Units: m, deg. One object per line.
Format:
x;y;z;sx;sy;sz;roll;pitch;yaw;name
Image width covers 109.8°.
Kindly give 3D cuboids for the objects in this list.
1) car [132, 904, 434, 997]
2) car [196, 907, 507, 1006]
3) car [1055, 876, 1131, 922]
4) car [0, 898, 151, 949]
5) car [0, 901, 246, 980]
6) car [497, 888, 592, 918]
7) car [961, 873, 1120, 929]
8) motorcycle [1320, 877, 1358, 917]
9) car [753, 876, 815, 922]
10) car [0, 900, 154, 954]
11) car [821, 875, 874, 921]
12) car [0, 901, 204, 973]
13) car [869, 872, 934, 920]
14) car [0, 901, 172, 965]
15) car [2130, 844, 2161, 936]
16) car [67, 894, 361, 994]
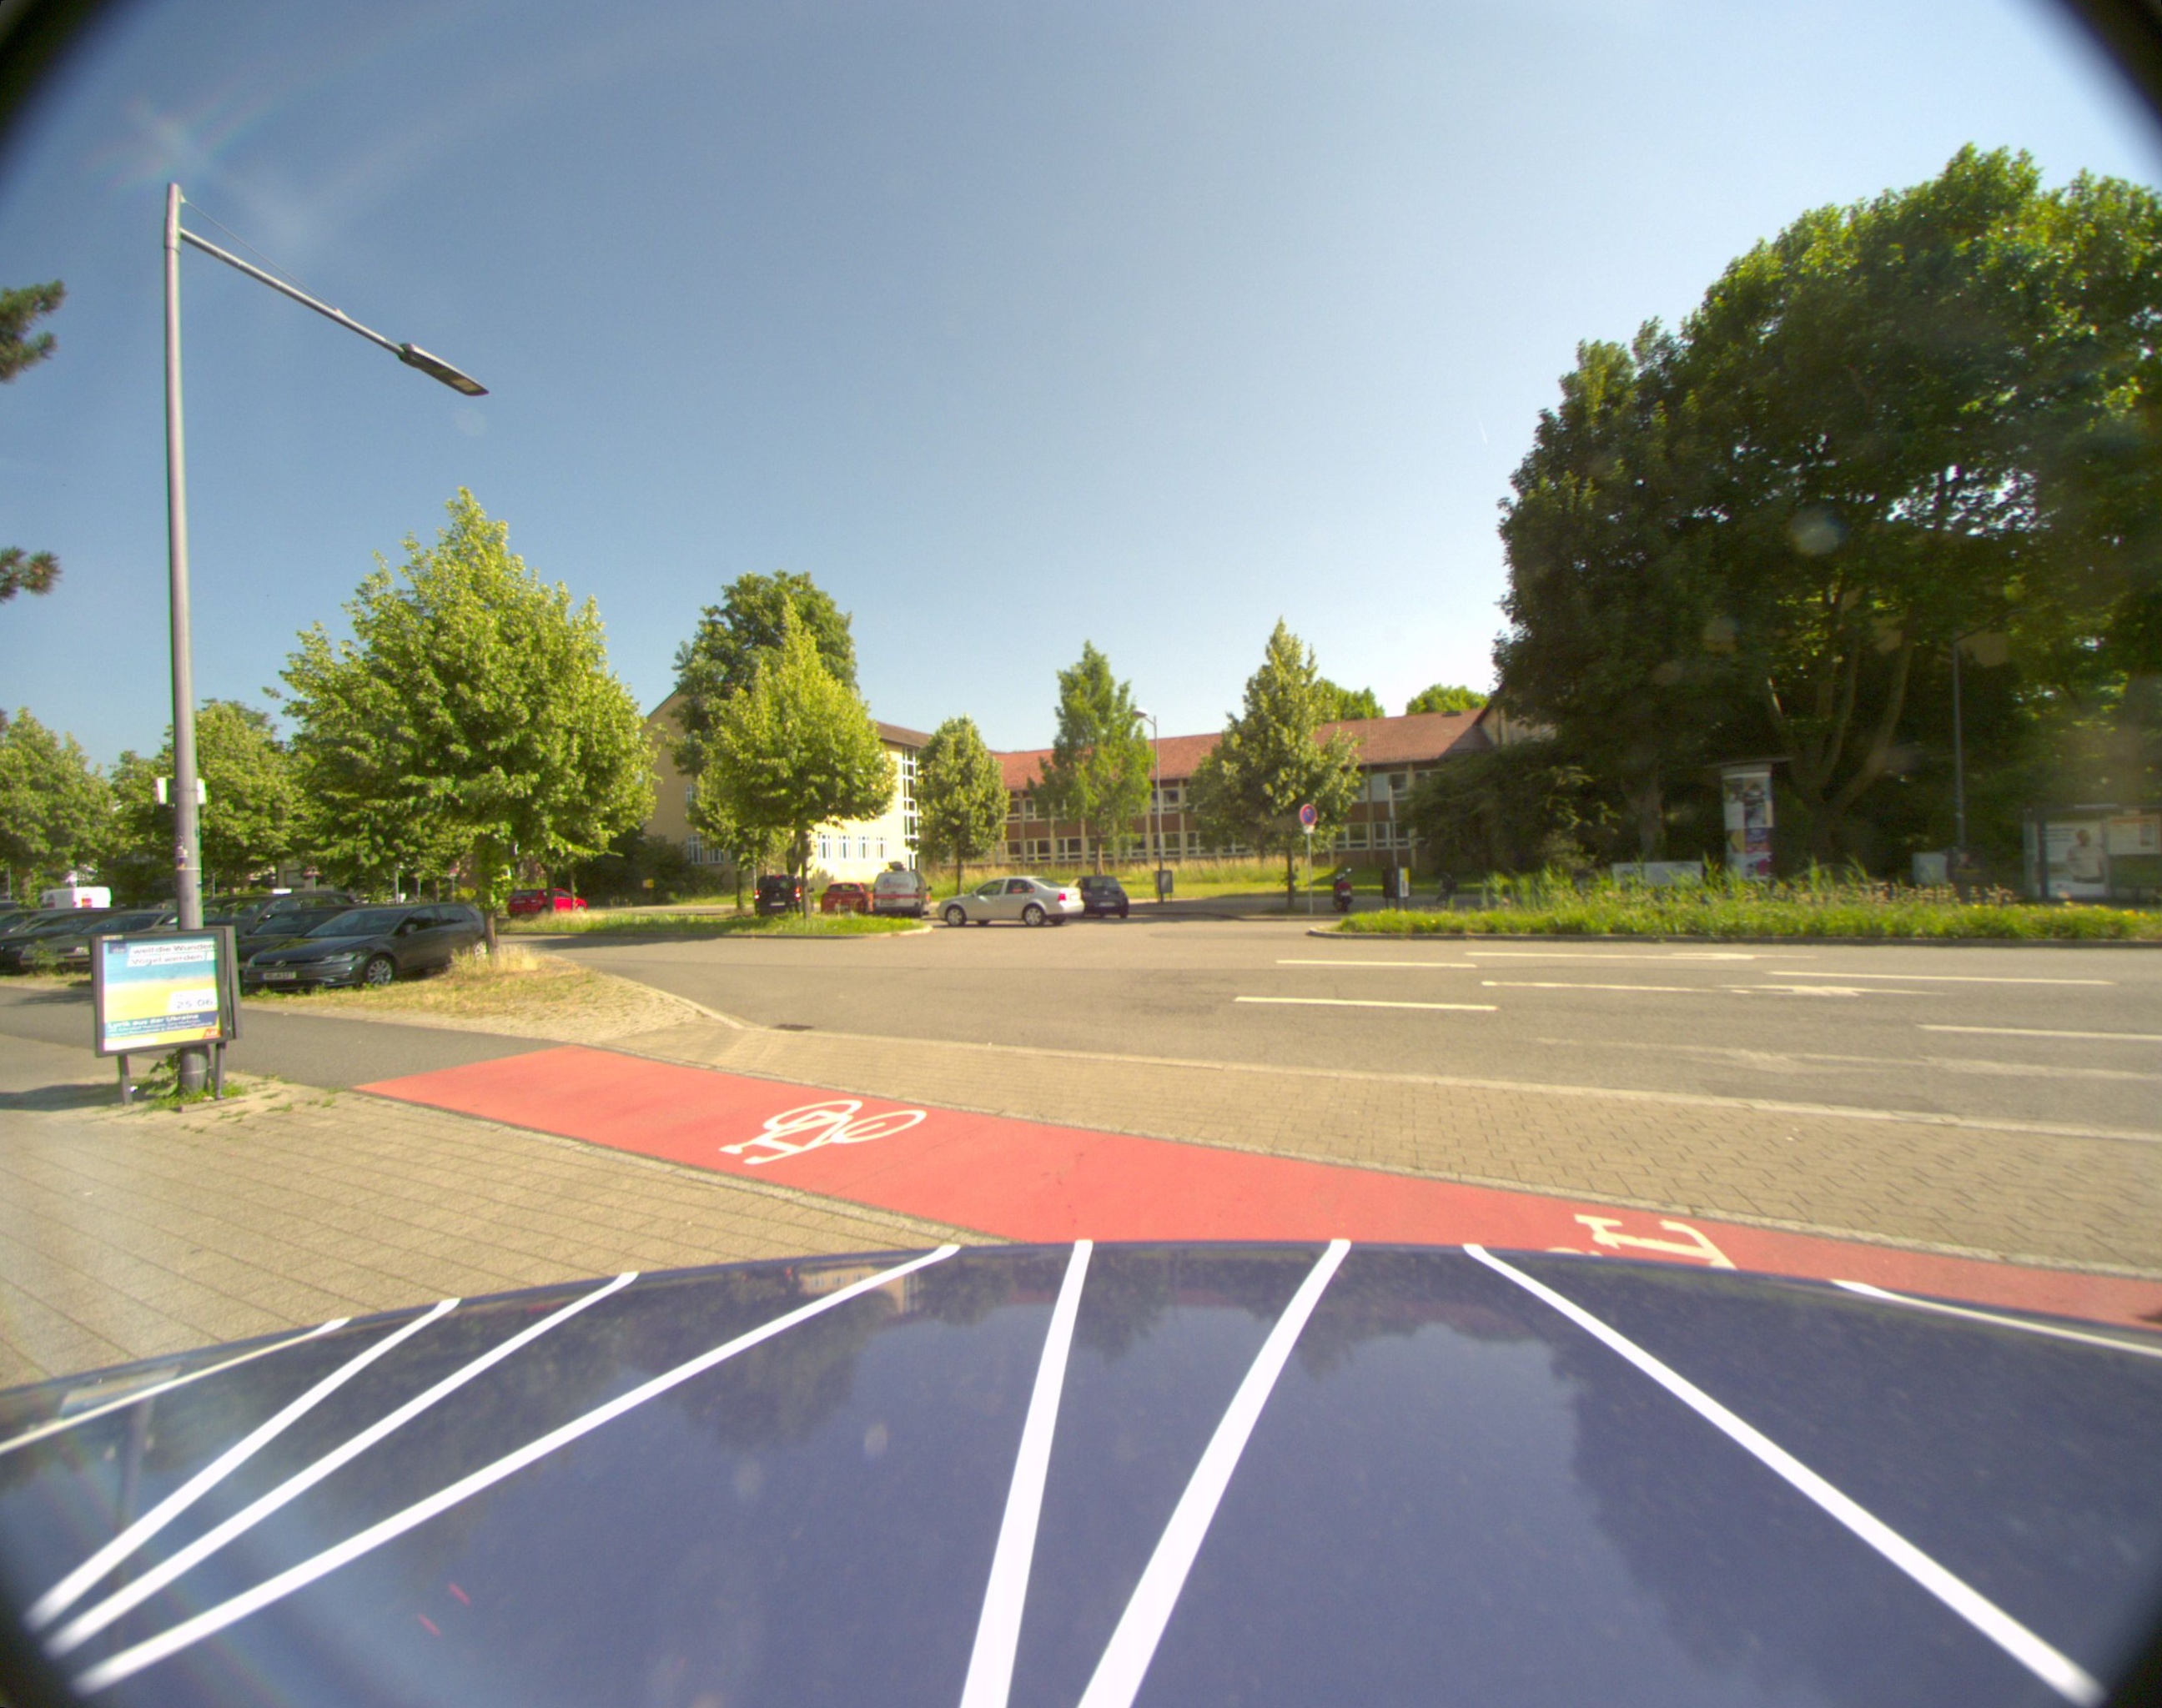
-16.027;1.855;15.667;1.880;1.472;4.226;-1;-2;-3;car
-13.280;1.786;14.297;1.880;1.408;4.226;-1;-2;-3;car
0.326;1.540;26.570;1.742;1.450;4.223;-1;-2;-12;car
-35.398;2.374;25.964;1.701;1.472;4.232;-2;-1;19;car
-23.356;2.028;18.814;1.706;1.472;4.220;-2;-1;-18;car
-26.869;2.419;38.219;1.879;1.382;3.730;-1;-2;6;car
-1.164;1.339;21.719;4.150;1.474;1.743;-2;-2;23;car
7.757;1.263;22.909;0.557;1.107;1.759;-2;-1;1;motorcycle
-12.101;1.800;31.197;1.882;1.711;4.222;0;-2;-15;car
-32.976;2.314;24.066;1.701;1.472;4.232;-2;-1;19;car
-9.366;1.751;30.751;1.882;1.711;4.222;0;-2;-15;car
-26.010;2.093;19.831;1.705;1.472;4.223;-2;-1;-8;car
-6.888;1.604;29.582;1.881;1.711;4.225;0;-2;-5;car
-28.554;2.158;20.911;1.702;1.472;4.229;-2;-1;8;car
21.286;0.503;11.757;5.645;1.601;2.004;-2;-3;23;car
-18.227;1.797;16.367;1.705;1.709;4.401;-1;-2;-8;car
